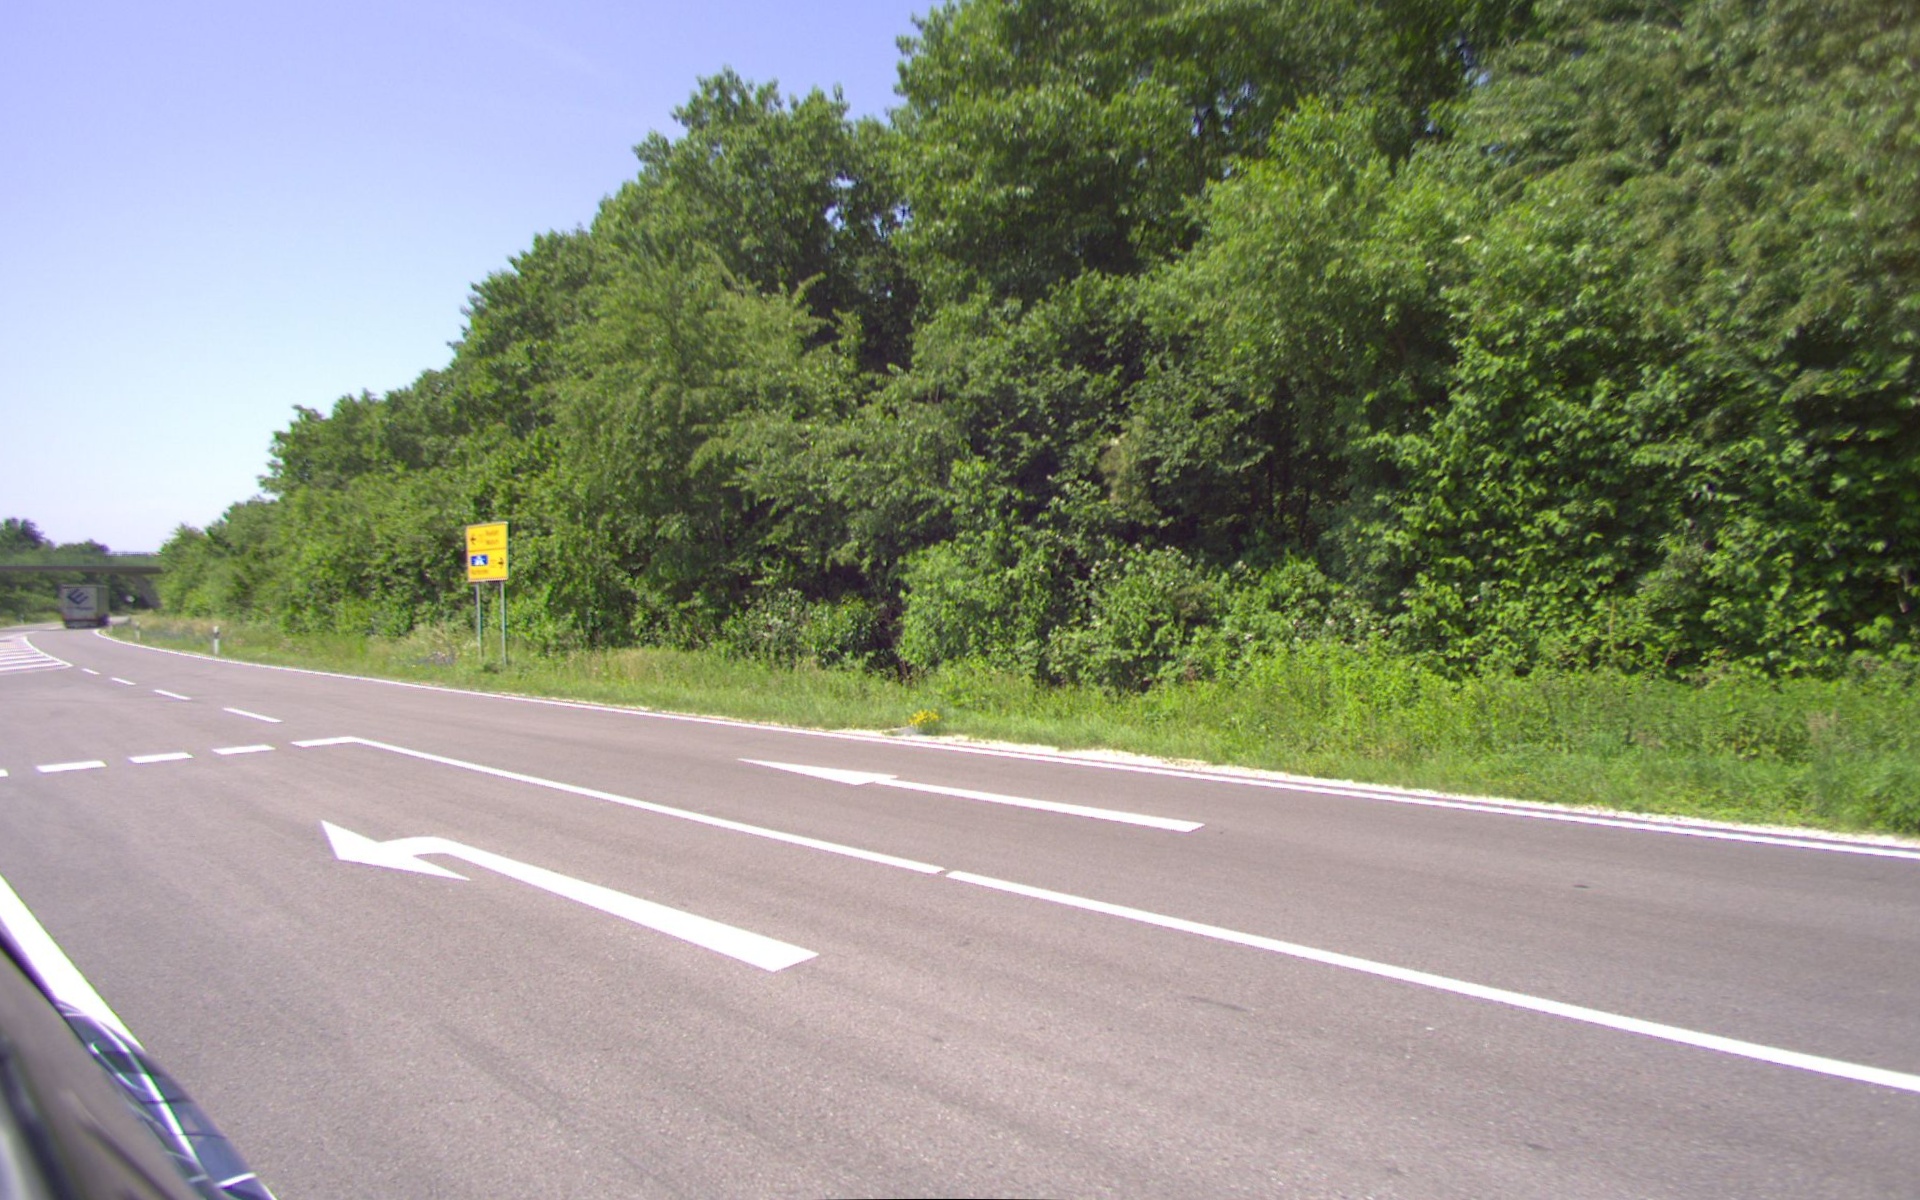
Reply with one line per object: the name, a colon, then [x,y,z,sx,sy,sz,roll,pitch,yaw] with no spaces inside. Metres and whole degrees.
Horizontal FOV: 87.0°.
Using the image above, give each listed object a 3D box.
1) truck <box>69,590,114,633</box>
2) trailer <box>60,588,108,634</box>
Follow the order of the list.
truck: [-88.365,1.139,103.137,2.762,4.126,11.087,-1,0,-37]
trailer: [-83.036,1.055,96.020,2.791,4.126,9.021,-1,0,-37]
